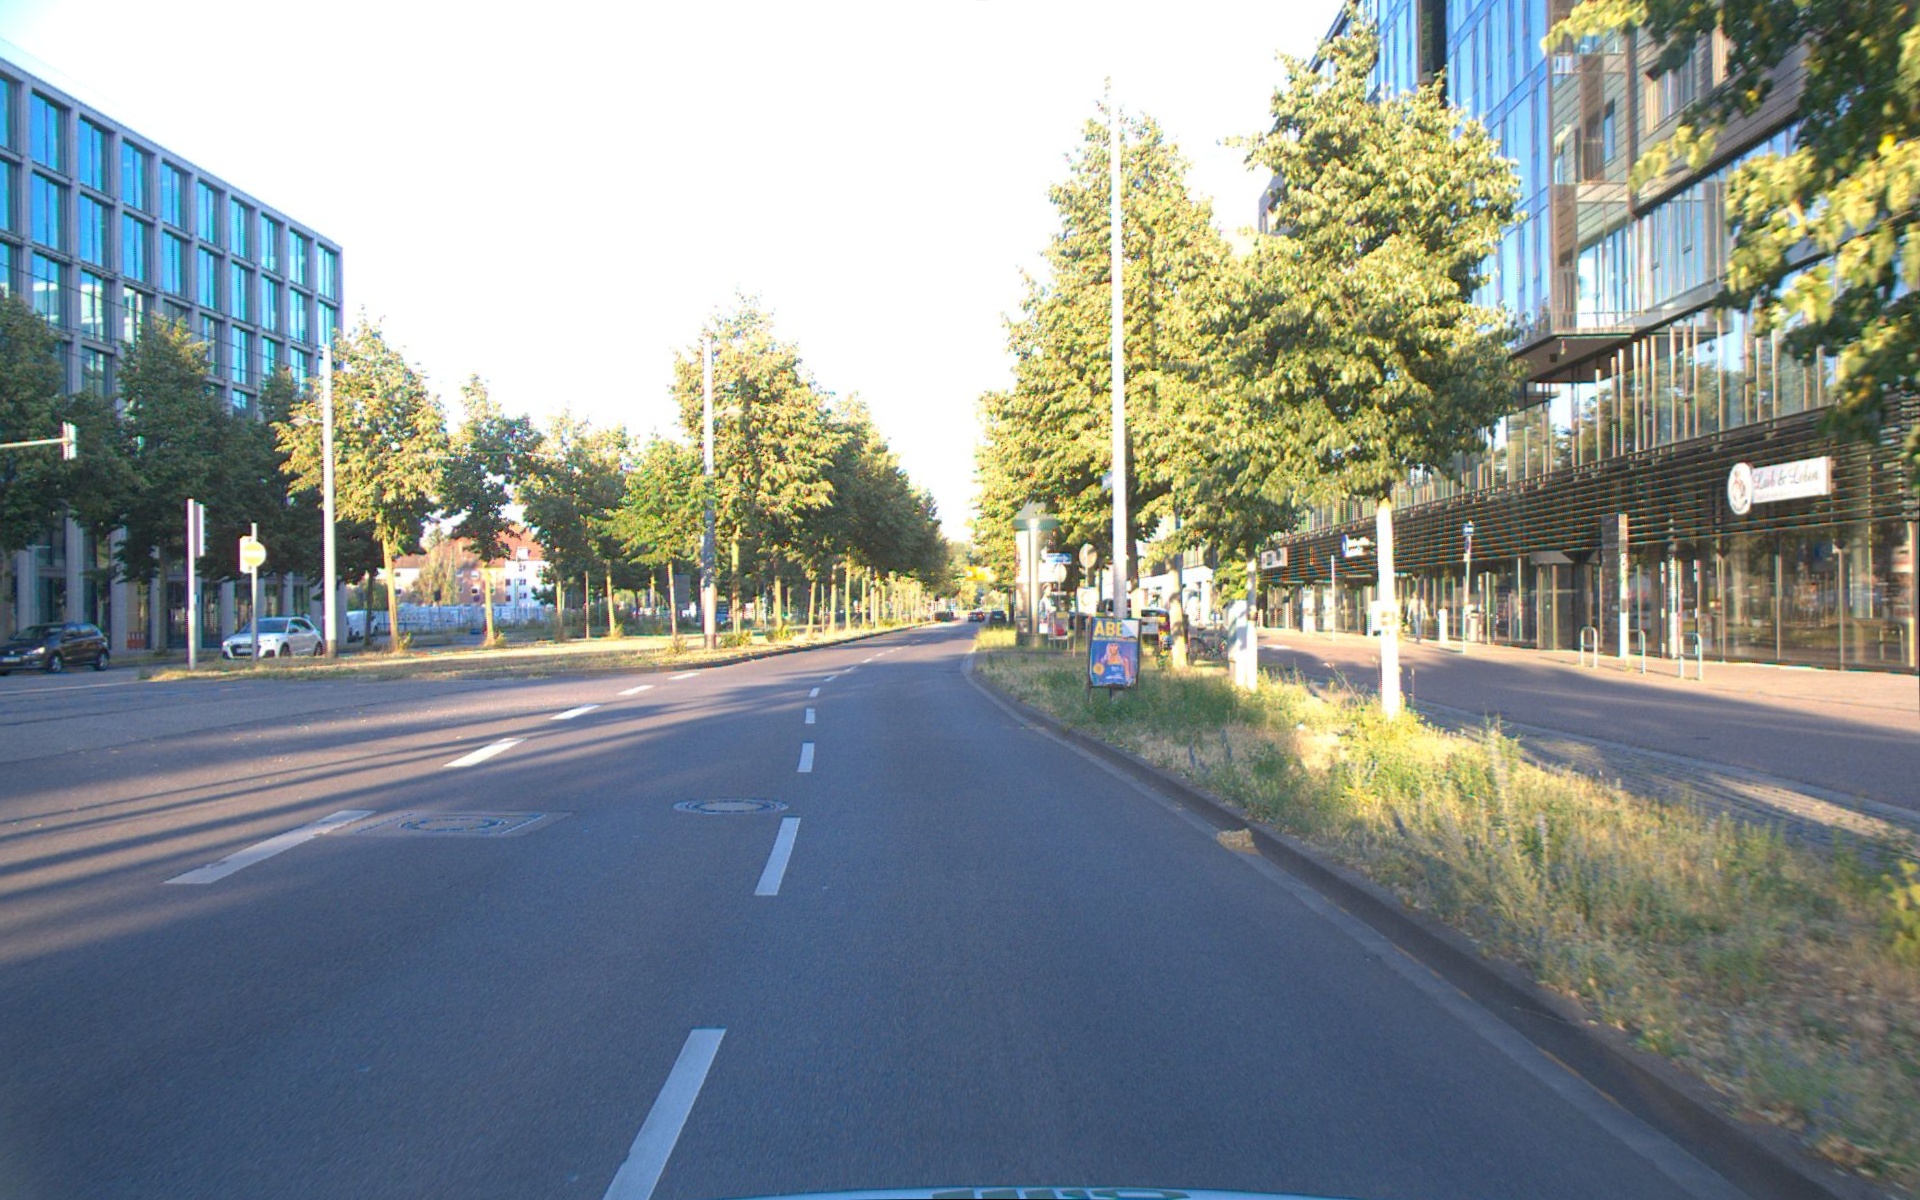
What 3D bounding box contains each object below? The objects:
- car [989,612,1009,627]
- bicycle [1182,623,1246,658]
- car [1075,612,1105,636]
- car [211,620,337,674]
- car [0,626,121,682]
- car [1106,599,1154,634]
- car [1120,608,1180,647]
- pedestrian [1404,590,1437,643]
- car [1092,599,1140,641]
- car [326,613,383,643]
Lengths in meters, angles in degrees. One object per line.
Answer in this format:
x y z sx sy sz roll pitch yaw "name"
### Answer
3.944 1.990 167.816 1.872 1.512 4.000 0 -1 0 "car"
6.714 1.071 43.743 1.688 0.926 0.361 -1 0 35 "bicycle"
8.684 1.578 110.527 1.744 1.520 4.000 2 0 1 "car"
-20.475 1.373 49.584 1.864 1.511 4.630 -1 -1 -1 "car"
-25.971 1.528 47.614 1.607 1.474 3.999 -1 0 -1 "car"
7.586 0.713 74.301 1.821 1.523 4.291 -1 0 2 "car"
7.794 1.115 68.324 1.878 1.523 5.040 0 -1 -1 "car"
16.101 0.585 57.841 0.878 1.828 0.912 -1 -1 0 "pedestrian"
7.702 0.987 81.854 1.945 2.024 4.932 0 -1 1 "car"
-43.893 2.015 119.965 2.160 2.049 5.084 -1 -1 1 "car"
